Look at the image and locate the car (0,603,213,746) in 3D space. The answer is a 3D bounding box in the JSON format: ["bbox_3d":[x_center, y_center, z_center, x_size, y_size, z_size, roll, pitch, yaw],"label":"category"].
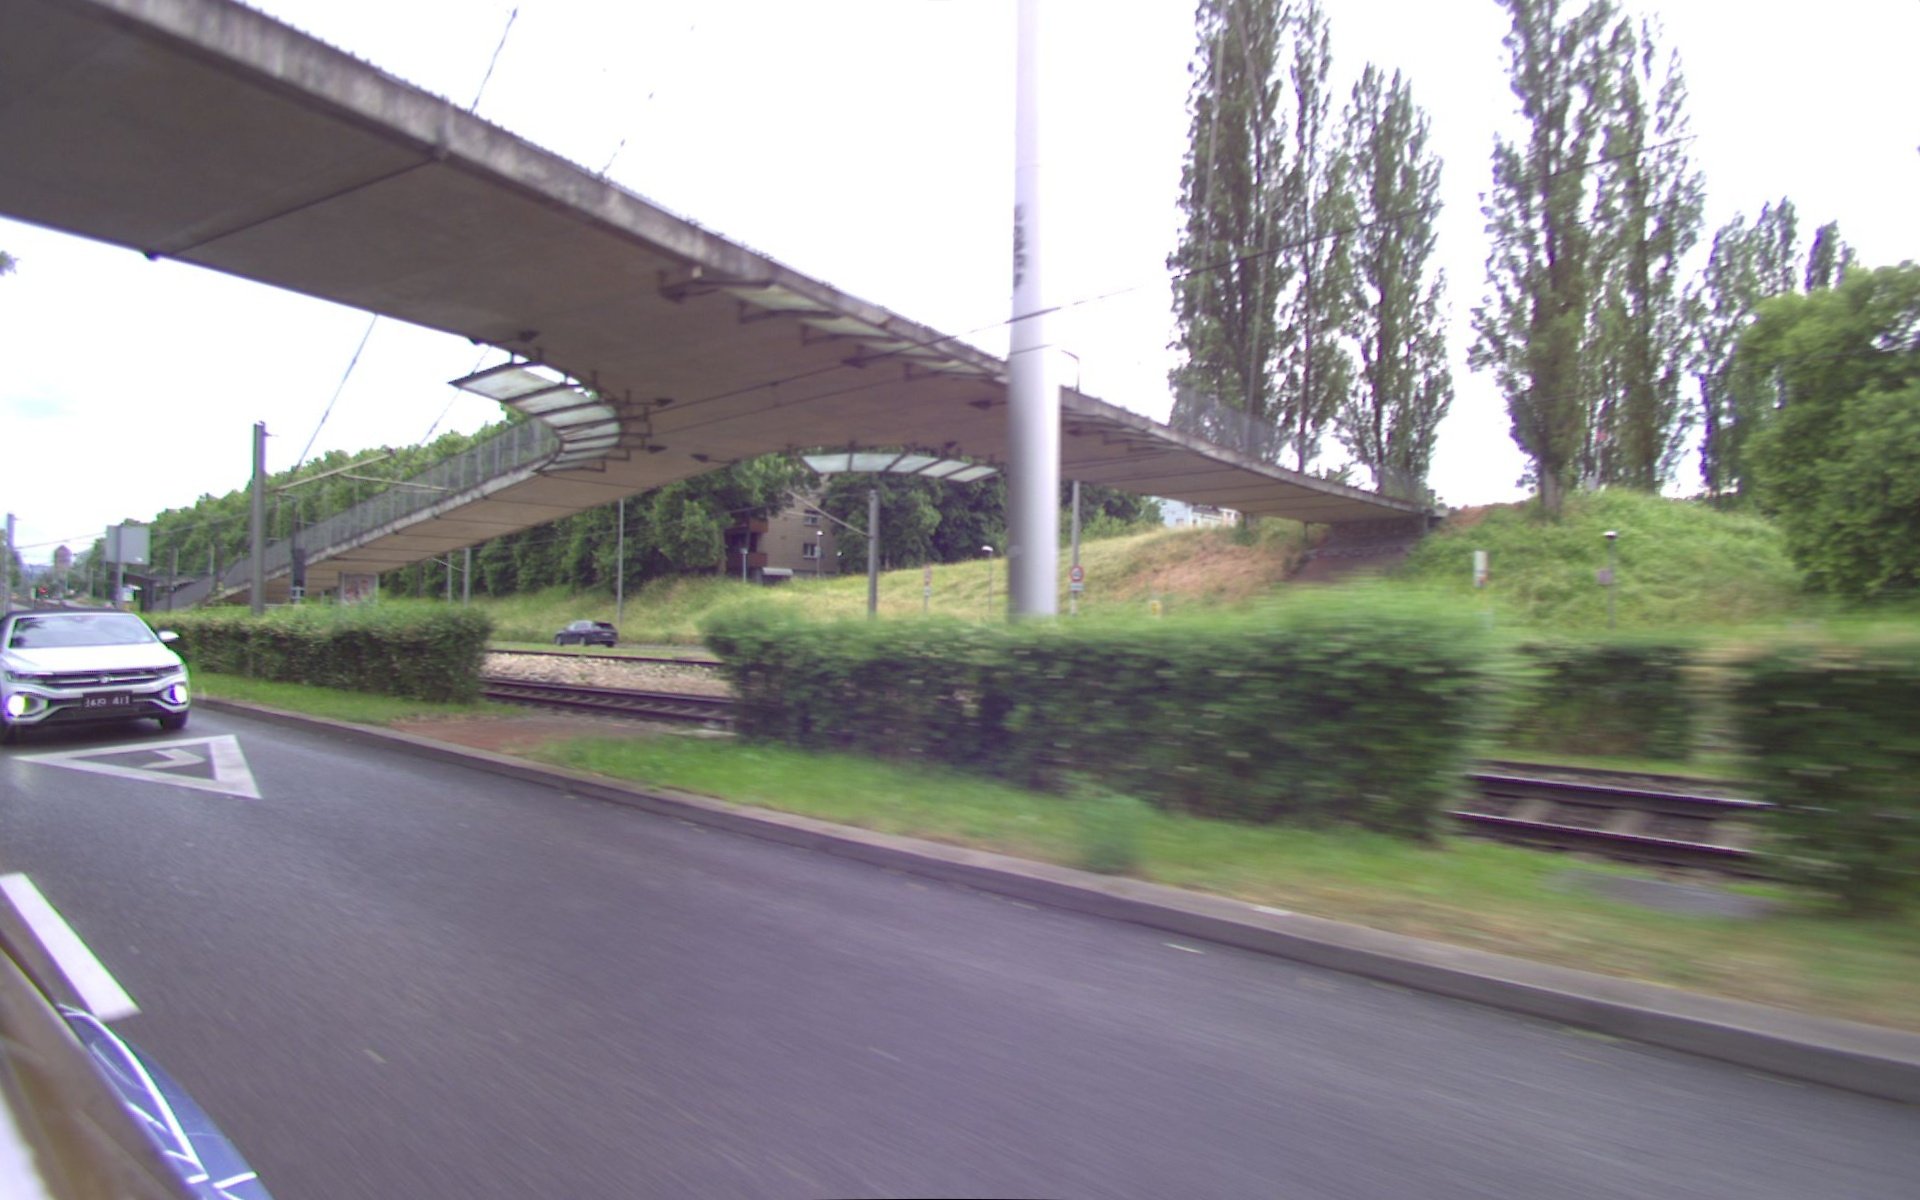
[{"bbox_3d":[-11.414,0.808,13.017,4.697,1.476,1.935,0,1,41],"label":"car"}]

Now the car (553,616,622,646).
[{"bbox_3d":[-20.862,1.713,56.580,4.207,1.601,1.971,-1,-2,44],"label":"car"}]
